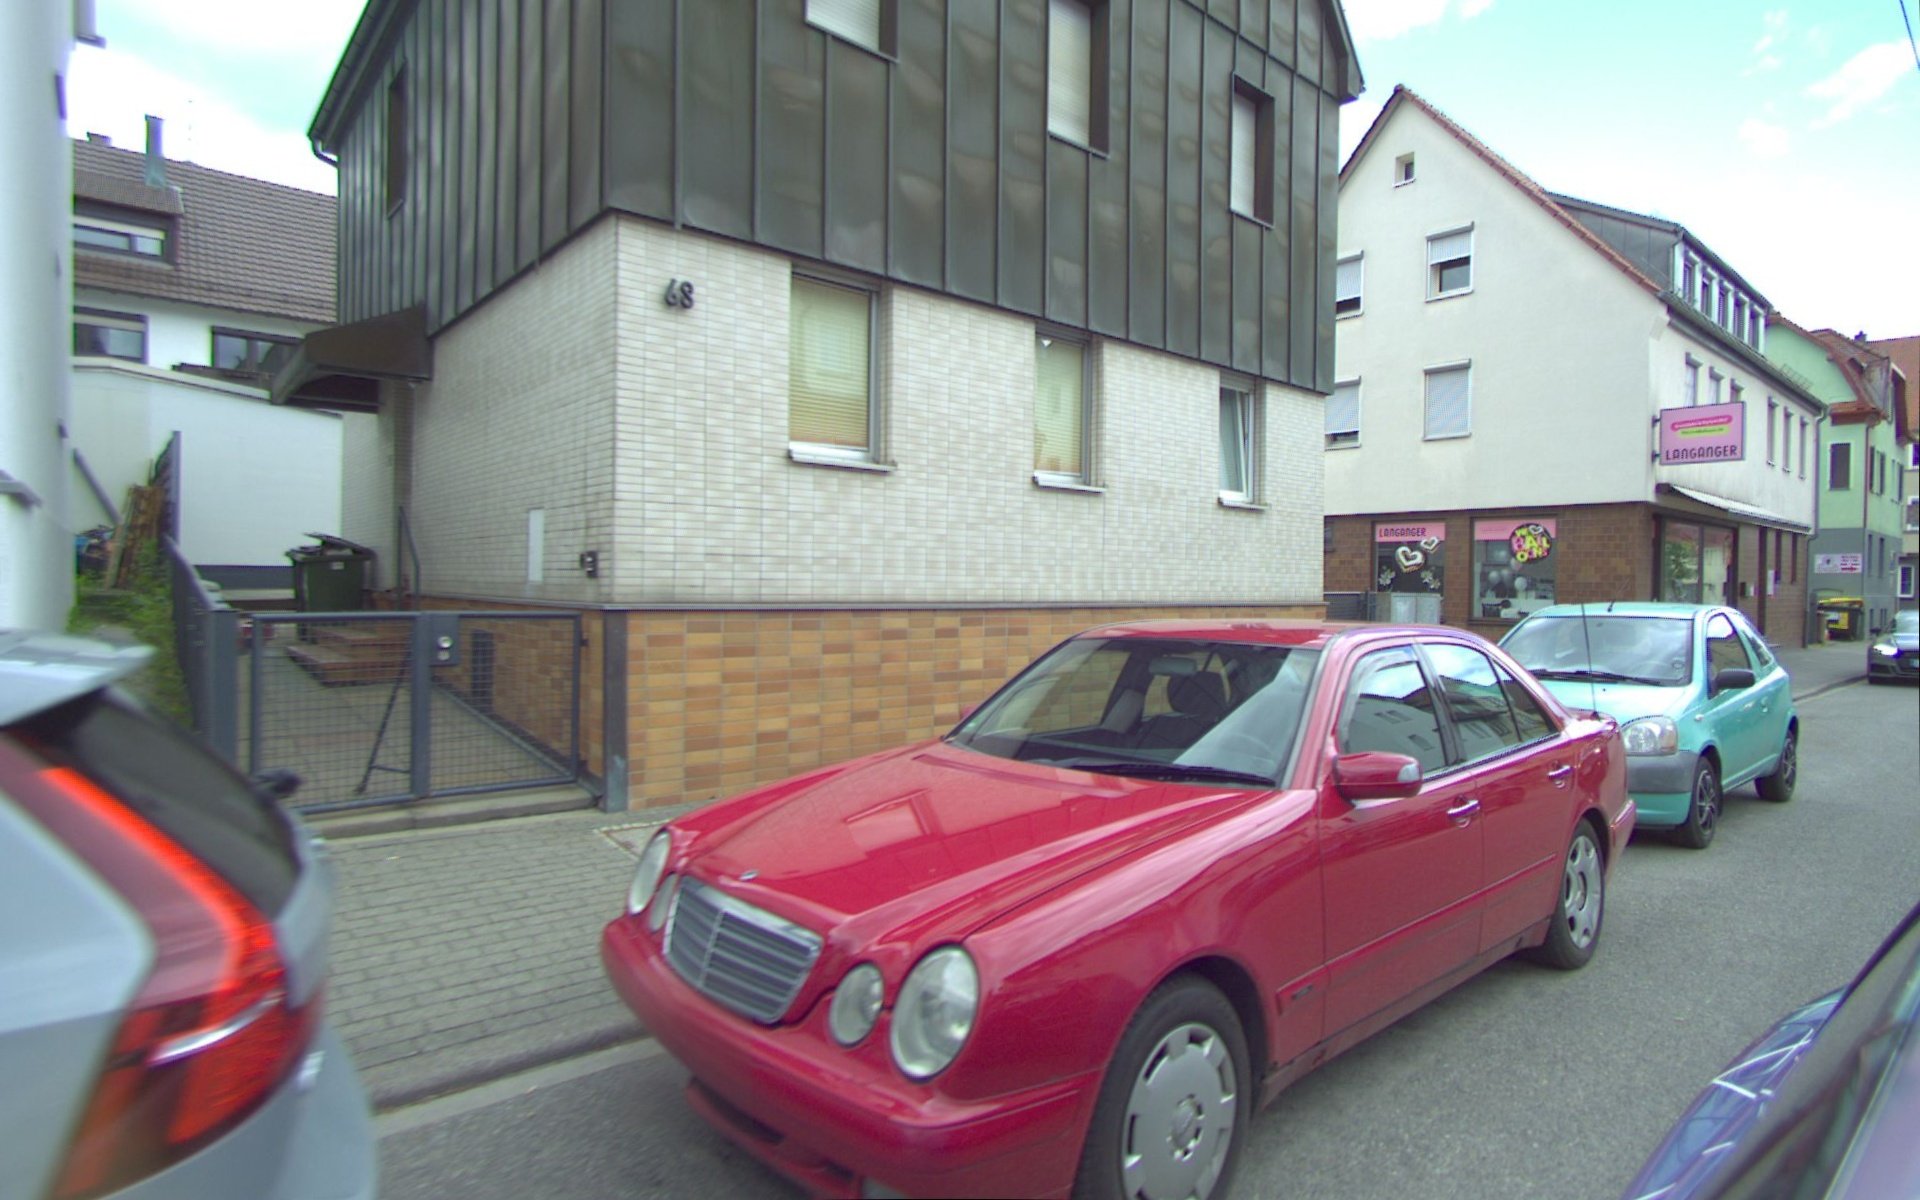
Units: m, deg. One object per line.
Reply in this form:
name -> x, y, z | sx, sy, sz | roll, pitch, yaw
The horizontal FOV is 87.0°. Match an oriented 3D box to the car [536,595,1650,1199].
car -> 0.948, 0.715, 3.805 | 4.378, 1.464, 1.757 | 0, 0, -42

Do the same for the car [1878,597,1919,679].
car -> 18.895, 0.676, 19.240 | 4.041, 1.464, 1.833 | 0, 0, -43

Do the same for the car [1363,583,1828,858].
car -> 4.879, 0.656, 7.569 | 3.922, 1.516, 1.835 | 0, 0, -40

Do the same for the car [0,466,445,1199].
car -> -2.840, 0.660, 0.337 | 4.437, 1.559, 1.878 | 0, 1, -43
